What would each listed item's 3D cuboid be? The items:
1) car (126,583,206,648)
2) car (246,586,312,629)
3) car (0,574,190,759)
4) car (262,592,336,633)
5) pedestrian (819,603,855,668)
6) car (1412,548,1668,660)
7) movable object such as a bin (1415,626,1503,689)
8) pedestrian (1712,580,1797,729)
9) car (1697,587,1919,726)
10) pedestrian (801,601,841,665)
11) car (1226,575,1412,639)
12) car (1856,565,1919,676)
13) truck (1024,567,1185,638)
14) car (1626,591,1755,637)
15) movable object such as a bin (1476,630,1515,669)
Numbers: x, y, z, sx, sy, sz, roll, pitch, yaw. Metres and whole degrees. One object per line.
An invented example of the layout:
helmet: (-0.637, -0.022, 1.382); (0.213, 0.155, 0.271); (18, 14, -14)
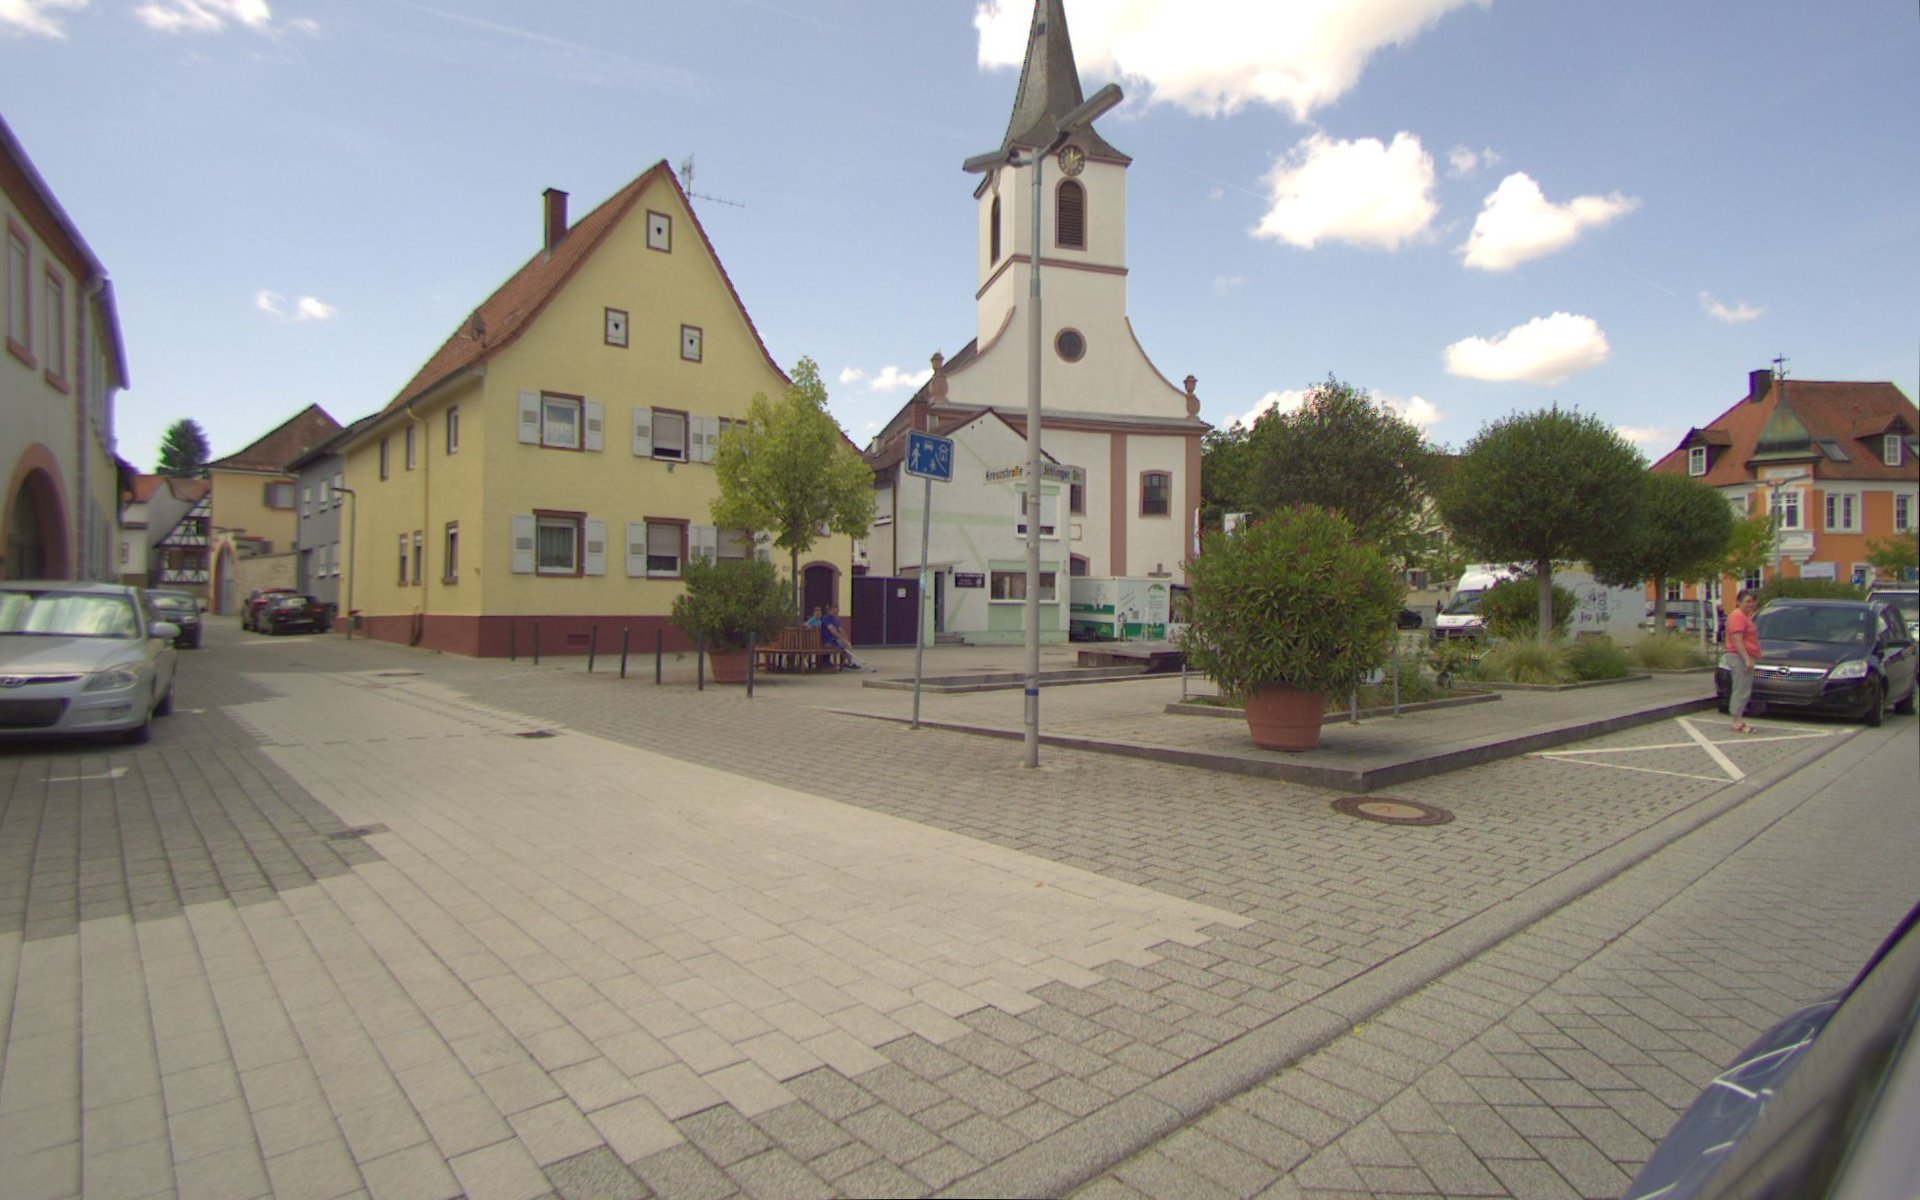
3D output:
car: (-21.607, 0.384, 27.540); (1.578, 1.640, 3.670); (2, -1, -39)
car: (-27.295, 0.268, 40.540); (1.964, 1.641, 3.539); (0, 1, -38)
car: (-8.791, 0.527, 9.887); (1.790, 1.492, 4.007); (1, 0, -34)
car: (-23.839, 0.419, 36.456); (1.964, 1.363, 3.539); (0, 1, -38)
pedestrian: (-2.490, 0.708, 20.519); (0.660, 1.300, 0.614); (0, 0, 1)
car: (17.016, 0.063, 29.703); (6.964, 3.000, 2.767); (0, 1, -21)
movable object such as a bin: (7.639, 0.856, 15.489); (1.411, 0.877, 0.735); (0, -1, -42)
pedestrian: (9.183, 0.604, 11.701); (0.609, 1.649, 0.641); (1, -1, -36)
car: (11.997, 0.665, 13.949); (4.336, 1.584, 1.774); (0, 2, -37)
pedestrian: (-2.898, 0.680, 21.138); (0.775, 1.300, 0.537); (0, 0, 1)
car: (14.718, 0.269, 41.934); (6.847, 2.509, 2.647); (0, 0, 8)
car: (21.153, 0.436, 21.772); (5.008, 2.204, 1.947); (1, 1, -39)
truck: (5.523, 0.117, 40.017); (2.897, 2.529, 6.834); (1, -1, -27)
car: (33.997, 0.666, 47.123); (5.379, 2.039, 2.004); (1, -1, -17)
movable object such as a bin: (10.594, 0.979, 20.036); (0.384, 0.742, 0.567); (1, 0, -35)
